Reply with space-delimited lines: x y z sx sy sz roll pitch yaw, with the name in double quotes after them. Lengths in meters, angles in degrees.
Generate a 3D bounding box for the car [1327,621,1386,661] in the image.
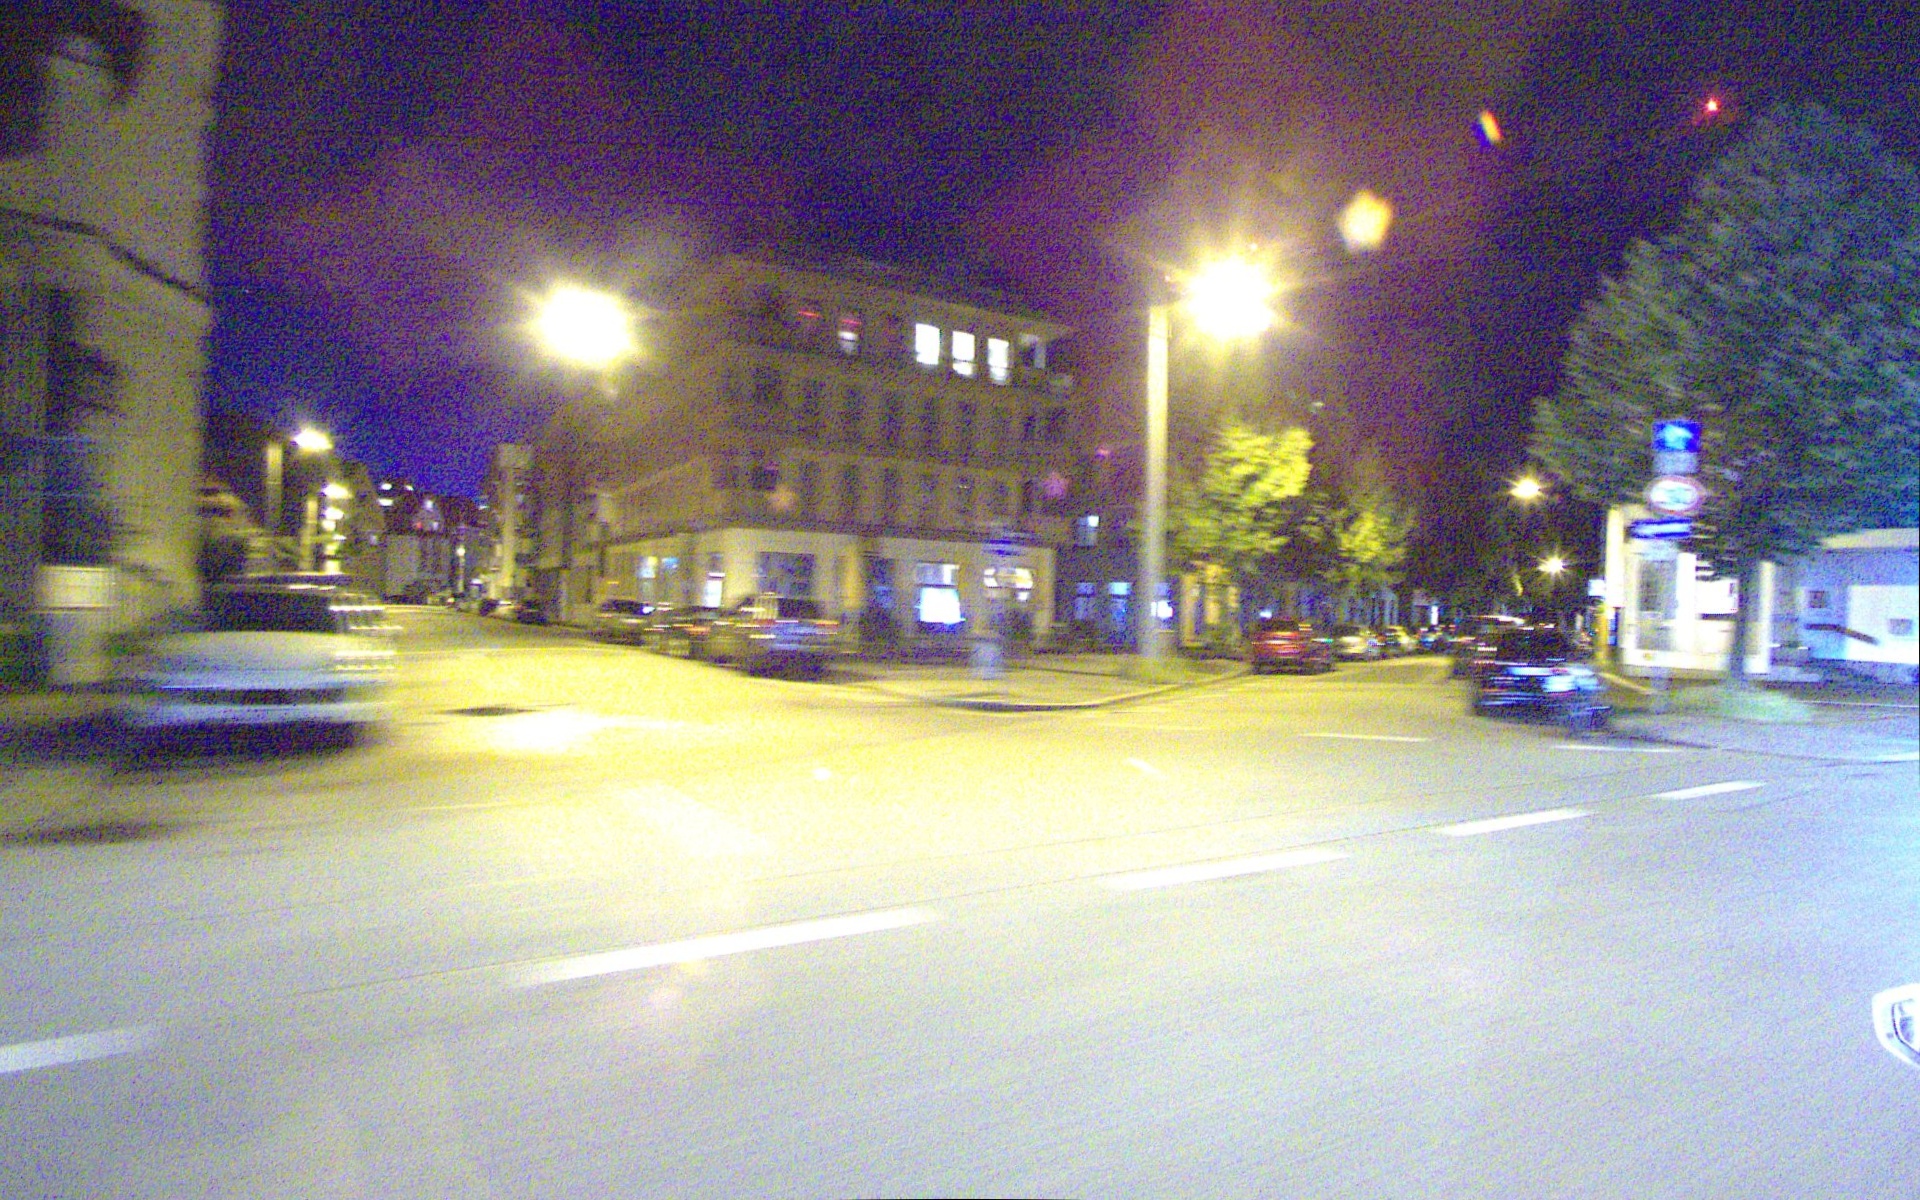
16.055 1.628 40.599 1.579 1.508 3.547 -1 -1 33 "car"

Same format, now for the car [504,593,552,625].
-25.540 0.532 59.298 1.912 1.737 4.380 2 -1 -33 "car"

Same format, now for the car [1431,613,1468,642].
32.858 1.801 67.409 1.770 1.833 3.989 1 0 33 "car"

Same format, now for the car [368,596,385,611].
-62.906 0.397 108.247 1.570 1.594 3.540 2 -1 -31 "car"

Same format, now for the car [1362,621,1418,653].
21.270 1.801 49.615 1.855 1.469 3.988 1 0 34 "car"

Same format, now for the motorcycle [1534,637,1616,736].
8.256 1.109 13.444 0.565 1.195 2.021 0 0 42 "motorcycle"

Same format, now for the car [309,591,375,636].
-22.416 0.462 36.525 1.806 1.525 3.970 0 0 -28 "car"

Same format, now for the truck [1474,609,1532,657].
22.215 1.340 41.027 1.863 1.831 4.105 1 -1 31 "truck"

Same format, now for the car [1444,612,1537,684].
14.272 1.217 26.919 1.886 1.666 4.102 4 1 31 "car"

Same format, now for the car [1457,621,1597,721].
9.690 1.108 17.334 1.858 1.443 4.723 0 -1 28 "car"

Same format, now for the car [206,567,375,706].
-10.820 0.498 16.498 2.005 1.915 4.961 0 0 -31 "car"

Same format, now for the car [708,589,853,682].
-4.143 0.729 22.580 1.933 1.777 4.321 3 0 -28 "car"

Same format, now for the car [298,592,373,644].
-19.661 0.511 31.718 1.882 1.525 3.966 0 0 -31 "car"

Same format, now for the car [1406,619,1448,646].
27.163 1.854 58.378 1.692 1.516 3.574 1 0 33 "car"

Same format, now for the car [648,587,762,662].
-7.062 0.626 27.497 1.938 1.777 4.320 5 -2 -28 "car"

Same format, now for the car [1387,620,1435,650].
24.233 1.860 53.926 1.742 1.479 3.989 1 0 33 "car"

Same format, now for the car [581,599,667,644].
-11.909 0.734 35.446 1.903 1.475 4.175 2 -1 -33 "car"

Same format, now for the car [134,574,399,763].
-7.563 0.637 11.289 1.981 1.650 4.635 2 -1 -32 "car"

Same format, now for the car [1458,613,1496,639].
37.360 1.896 72.535 1.873 1.758 3.986 1 -1 36 "car"

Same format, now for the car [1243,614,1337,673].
10.052 1.297 30.415 1.810 1.634 4.251 -1 -2 31 "car"
